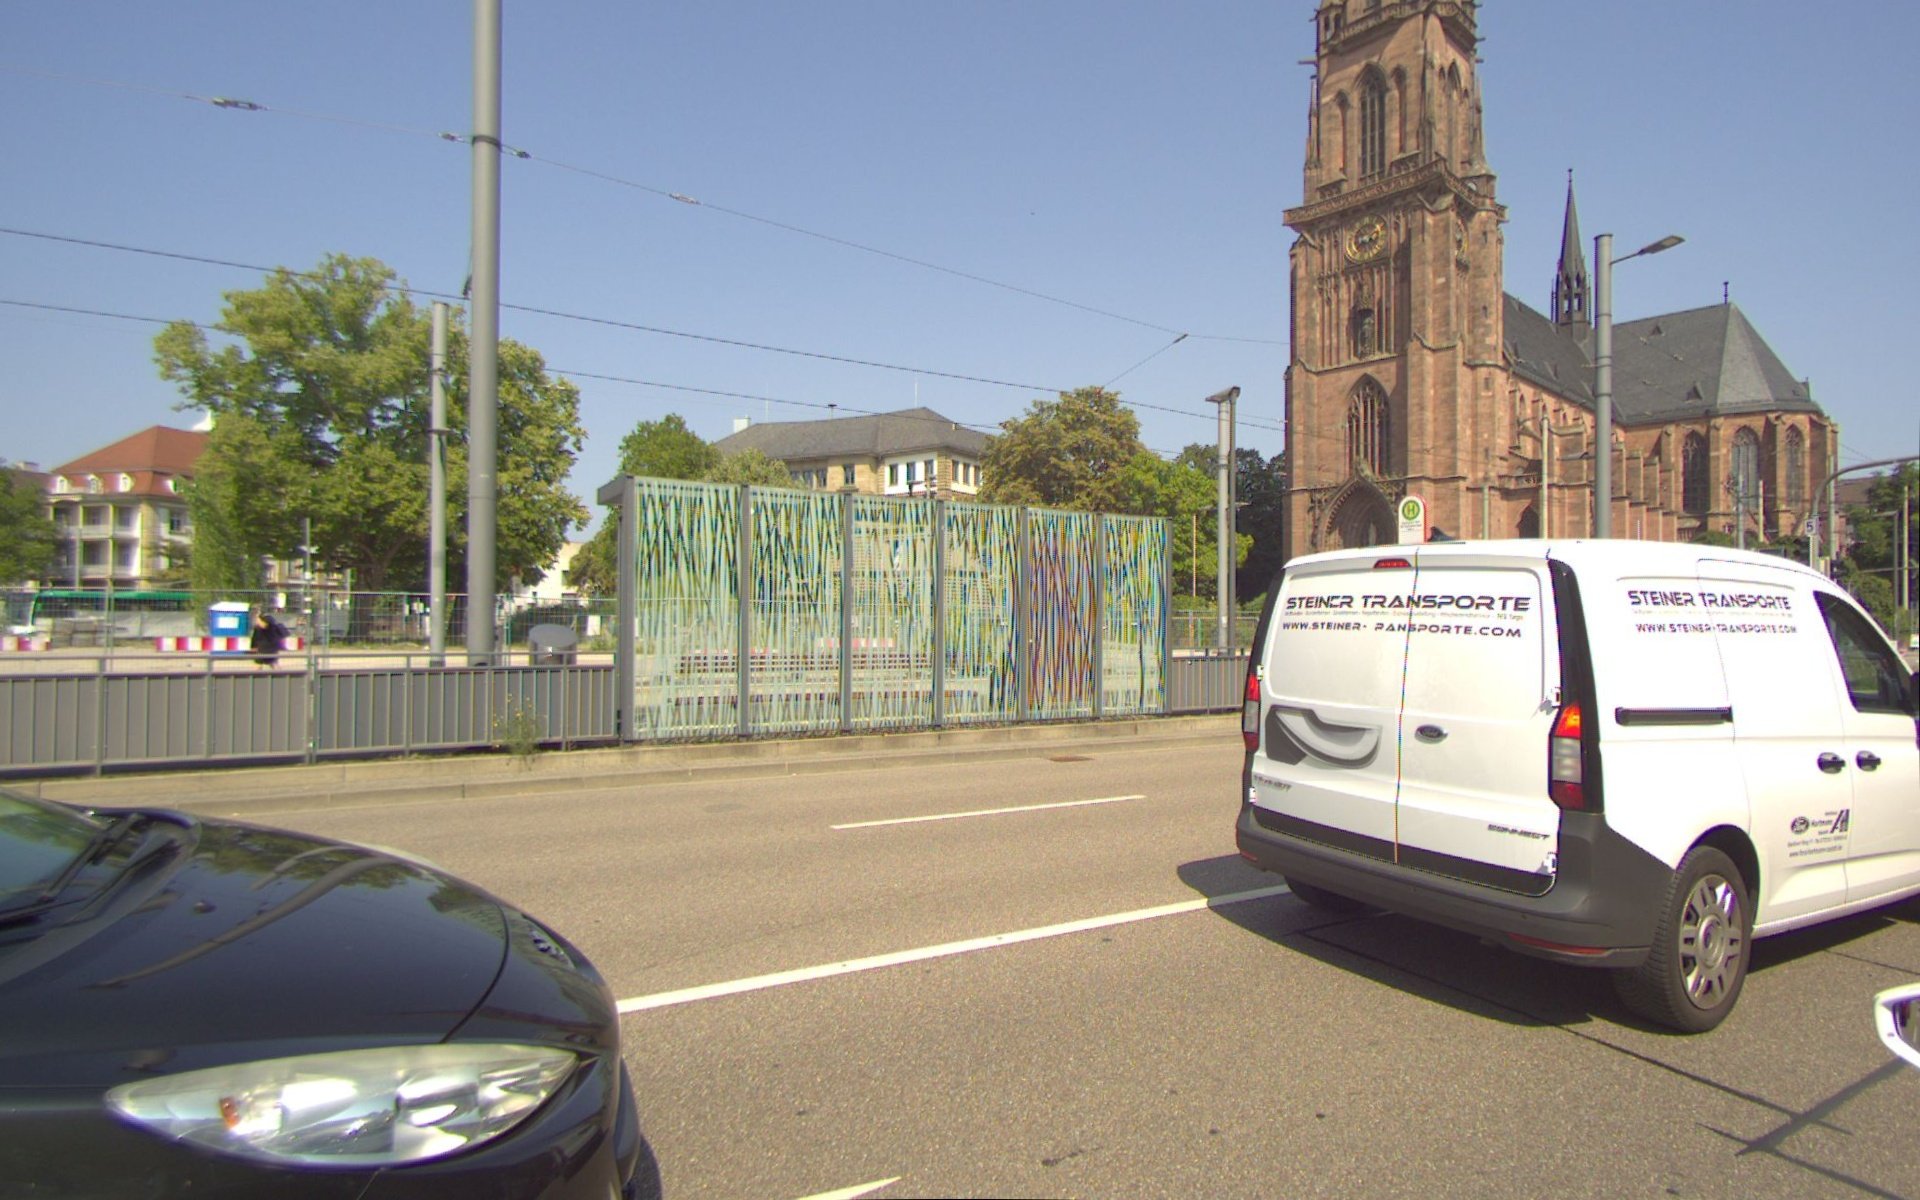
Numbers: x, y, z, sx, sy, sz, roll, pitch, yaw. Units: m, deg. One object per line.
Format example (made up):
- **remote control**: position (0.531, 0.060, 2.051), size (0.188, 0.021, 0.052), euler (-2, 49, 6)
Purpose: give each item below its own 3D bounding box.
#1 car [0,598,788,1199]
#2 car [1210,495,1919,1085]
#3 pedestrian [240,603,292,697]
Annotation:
- **car**: position (-2.289, 0.700, 1.207), size (3.758, 1.432, 1.679), euler (1, 0, -31)
- **car**: position (3.395, 0.638, 4.980), size (4.190, 1.844, 1.739), euler (1, -1, -31)
- **pedestrian**: position (-13.688, 0.972, 19.837), size (0.752, 1.811, 0.740), euler (1, -1, -30)
